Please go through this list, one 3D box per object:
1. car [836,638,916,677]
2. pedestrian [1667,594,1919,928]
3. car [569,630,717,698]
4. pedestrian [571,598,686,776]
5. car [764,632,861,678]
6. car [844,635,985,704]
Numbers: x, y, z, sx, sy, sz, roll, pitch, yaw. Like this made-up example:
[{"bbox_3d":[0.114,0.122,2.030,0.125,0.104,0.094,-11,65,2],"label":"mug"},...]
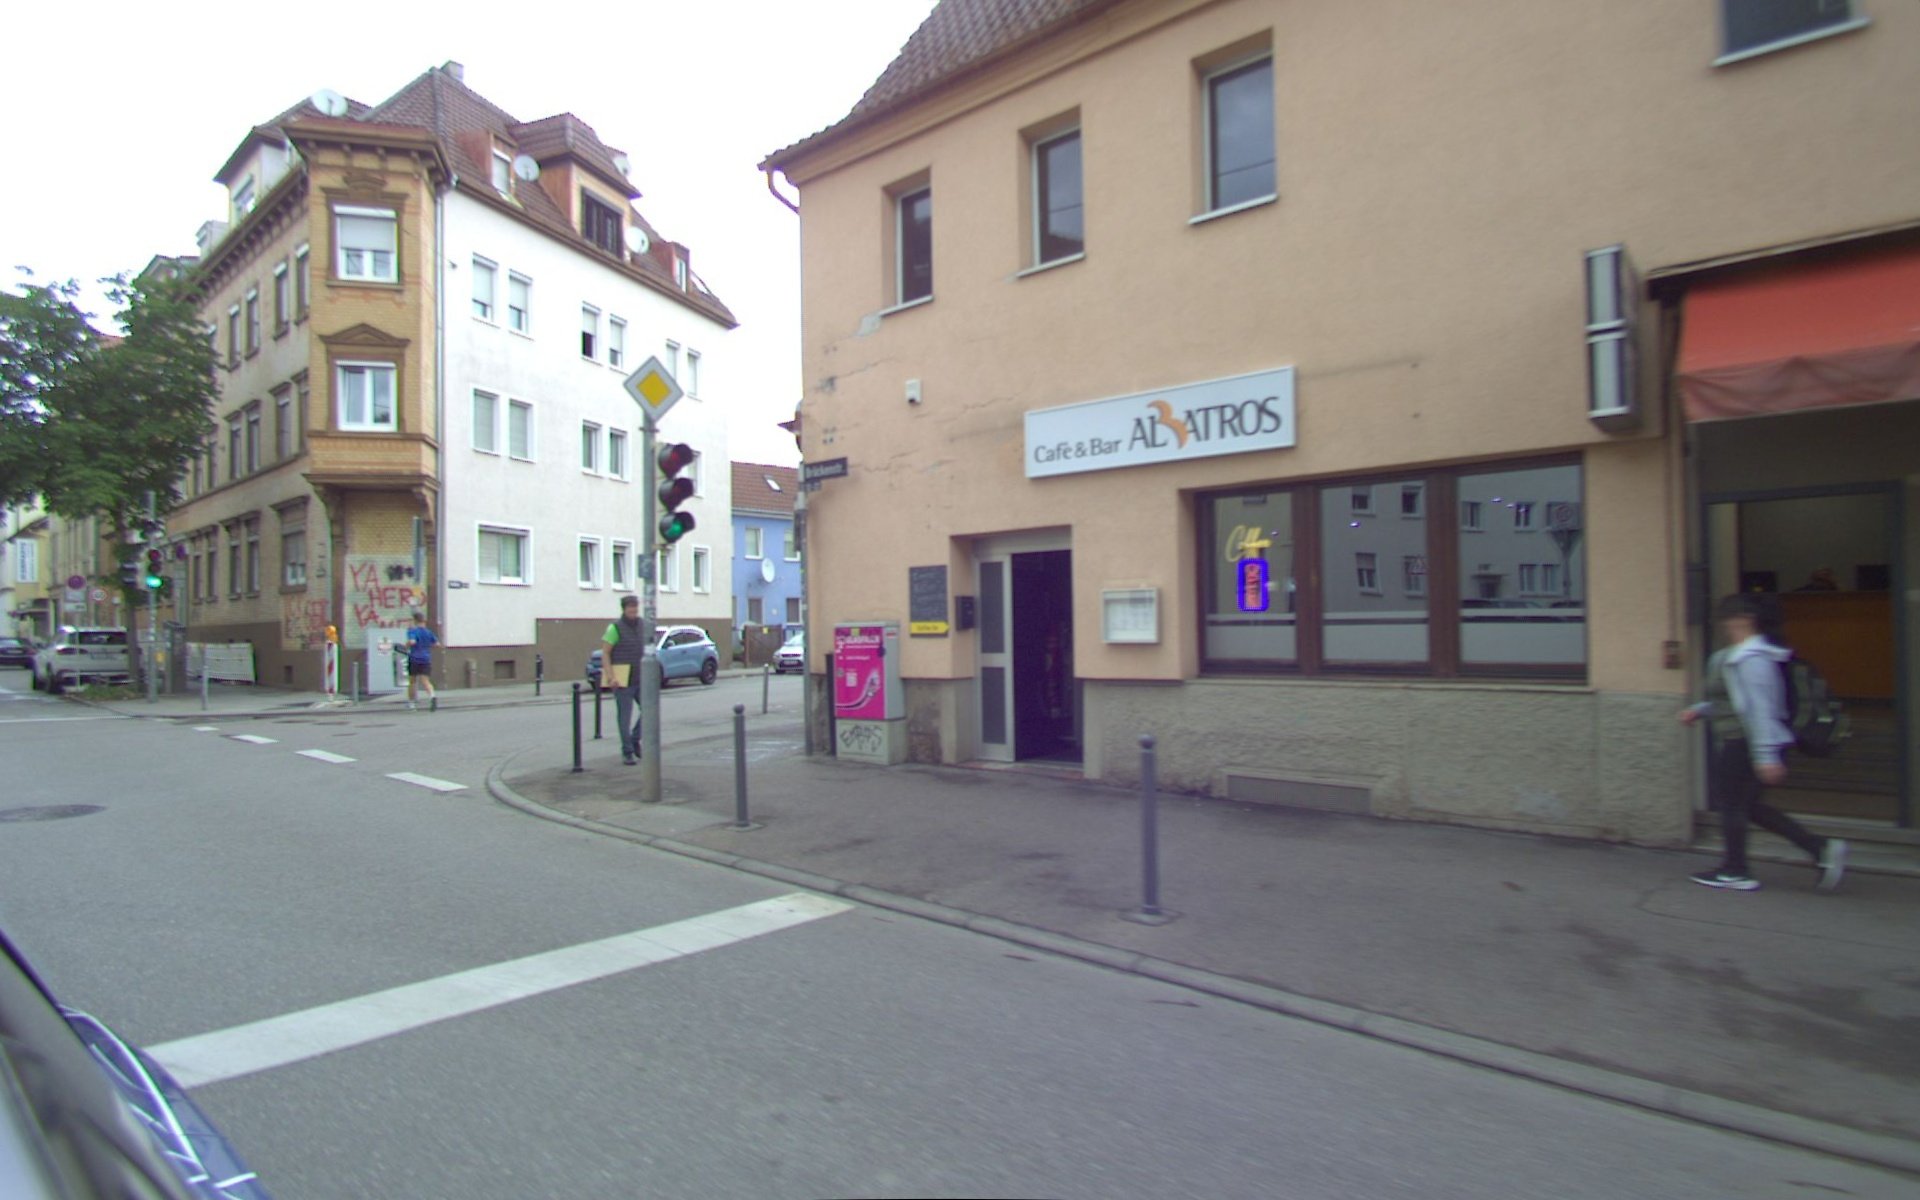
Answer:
[{"bbox_3d":[-3.244,2.259,39.902,1.745,1.465,3.824,-1,-3,20],"label":"car"},{"bbox_3d":[4.328,0.759,5.256,0.982,1.546,0.731,-2,-2,39],"label":"pedestrian"},{"bbox_3d":[-8.011,1.582,25.904,1.762,1.563,3.698,-1,-2,20],"label":"car"},{"bbox_3d":[-3.495,0.881,10.659,0.982,1.768,0.731,-2,-2,41],"label":"pedestrian"},{"bbox_3d":[-4.992,1.893,34.838,1.745,1.465,3.824,-1,-3,20],"label":"car"},{"bbox_3d":[-0.960,1.583,24.106,1.897,1.455,4.360,-1,-2,19],"label":"car"}]
